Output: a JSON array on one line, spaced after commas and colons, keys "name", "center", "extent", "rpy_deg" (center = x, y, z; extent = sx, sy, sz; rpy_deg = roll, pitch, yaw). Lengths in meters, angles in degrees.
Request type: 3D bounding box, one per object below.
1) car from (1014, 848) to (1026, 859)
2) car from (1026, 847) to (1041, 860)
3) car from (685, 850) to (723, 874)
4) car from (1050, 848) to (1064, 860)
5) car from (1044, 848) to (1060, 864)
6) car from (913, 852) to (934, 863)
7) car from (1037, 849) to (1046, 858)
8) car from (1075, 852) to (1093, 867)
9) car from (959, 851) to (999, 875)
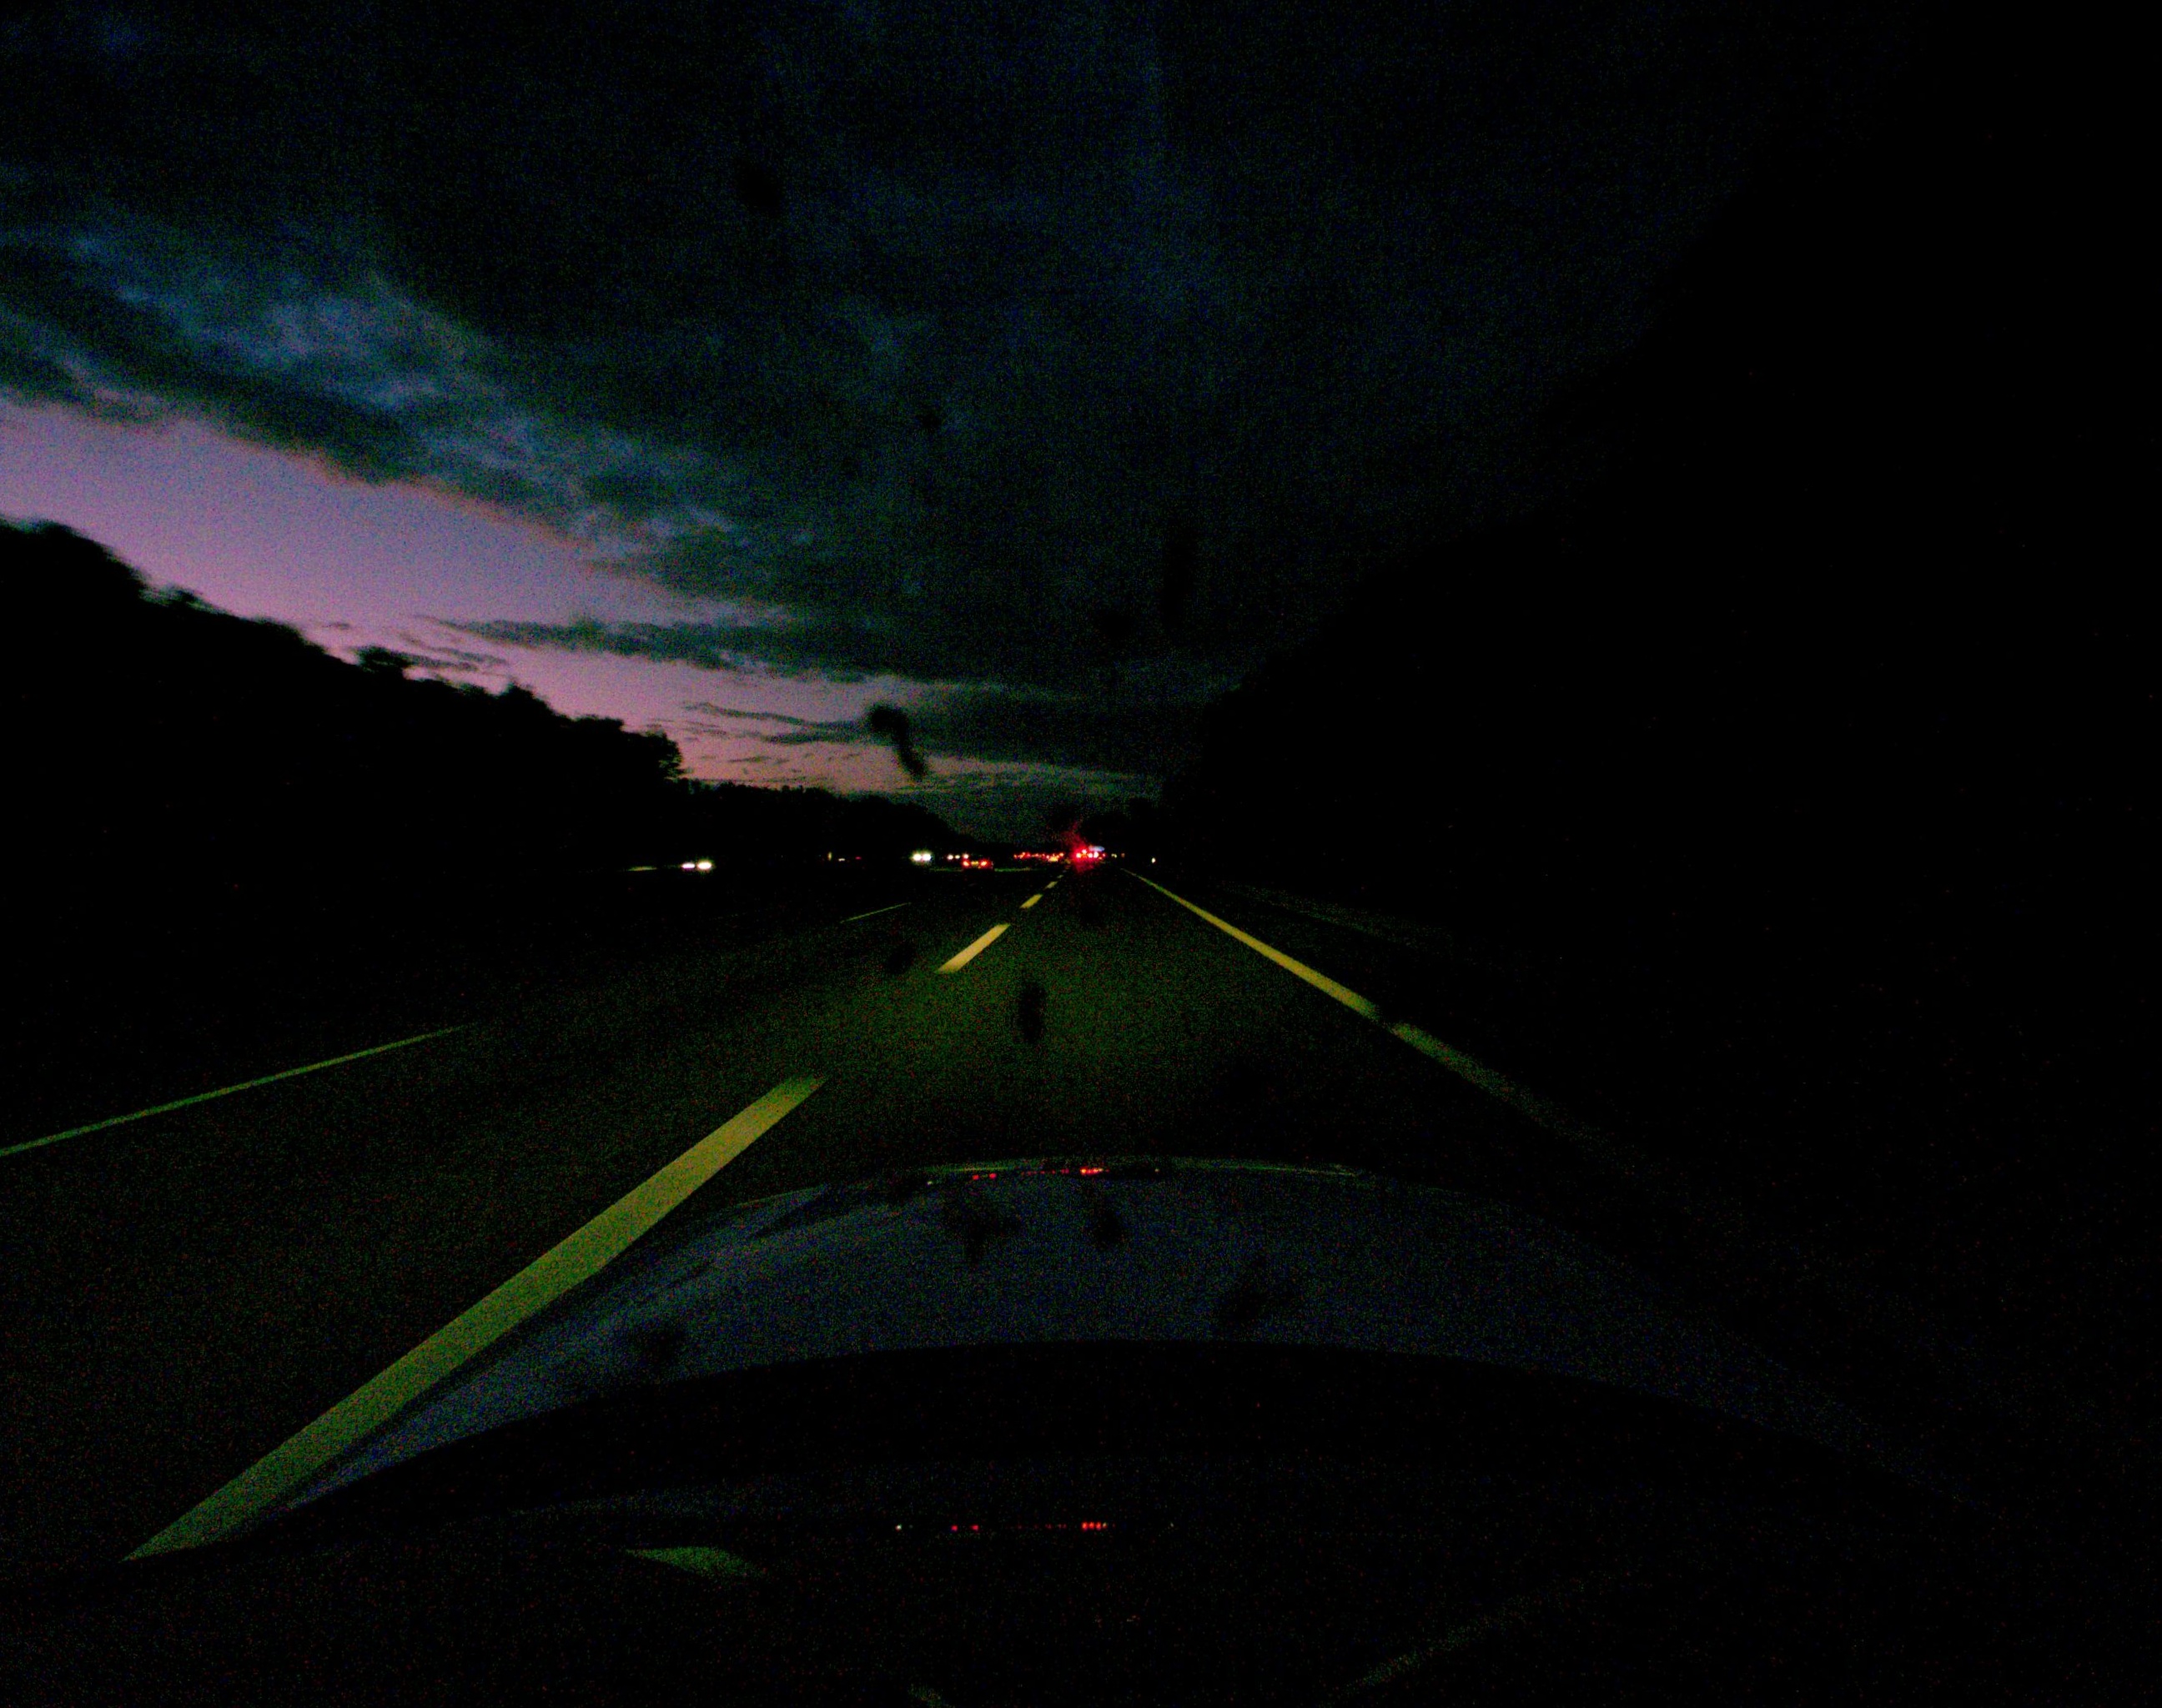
[{"name": "car", "center": [-11.747, -0.110, 156.940], "extent": [2.100, 2.013, 3.996], "rpy_deg": [-2, 0, -3]}, {"name": "car", "center": [-8.049, -0.074, 138.086], "extent": [2.064, 2.013, 4.001], "rpy_deg": [-1, 0, 1]}, {"name": "car", "center": [-33.495, 0.691, 72.521], "extent": [1.995, 2.014, 4.989], "rpy_deg": [0, 0, -12]}, {"name": "car", "center": [-4.001, -0.007, 135.961], "extent": [1.986, 2.013, 4.001], "rpy_deg": [-1, 0, 1]}, {"name": "car", "center": [-3.818, 0.252, 108.316], "extent": [1.987, 2.013, 4.000], "rpy_deg": [0, 0, 0]}, {"name": "car", "center": [-23.295, 0.499, 120.593], "extent": [1.987, 1.664, 5.010], "rpy_deg": [-1, 0, 0]}, {"name": "car", "center": [-8.820, -0.051, 181.212], "extent": [1.990, 2.014, 3.993], "rpy_deg": [0, 0, -5]}, {"name": "car", "center": [0.356, 0.609, 93.239], "extent": [1.988, 1.659, 4.313], "rpy_deg": [-1, 0, -1]}, {"name": "car", "center": [-7.323, 0.647, 59.032], "extent": [1.985, 1.642, 4.559], "rpy_deg": [-1, 0, 4]}]
